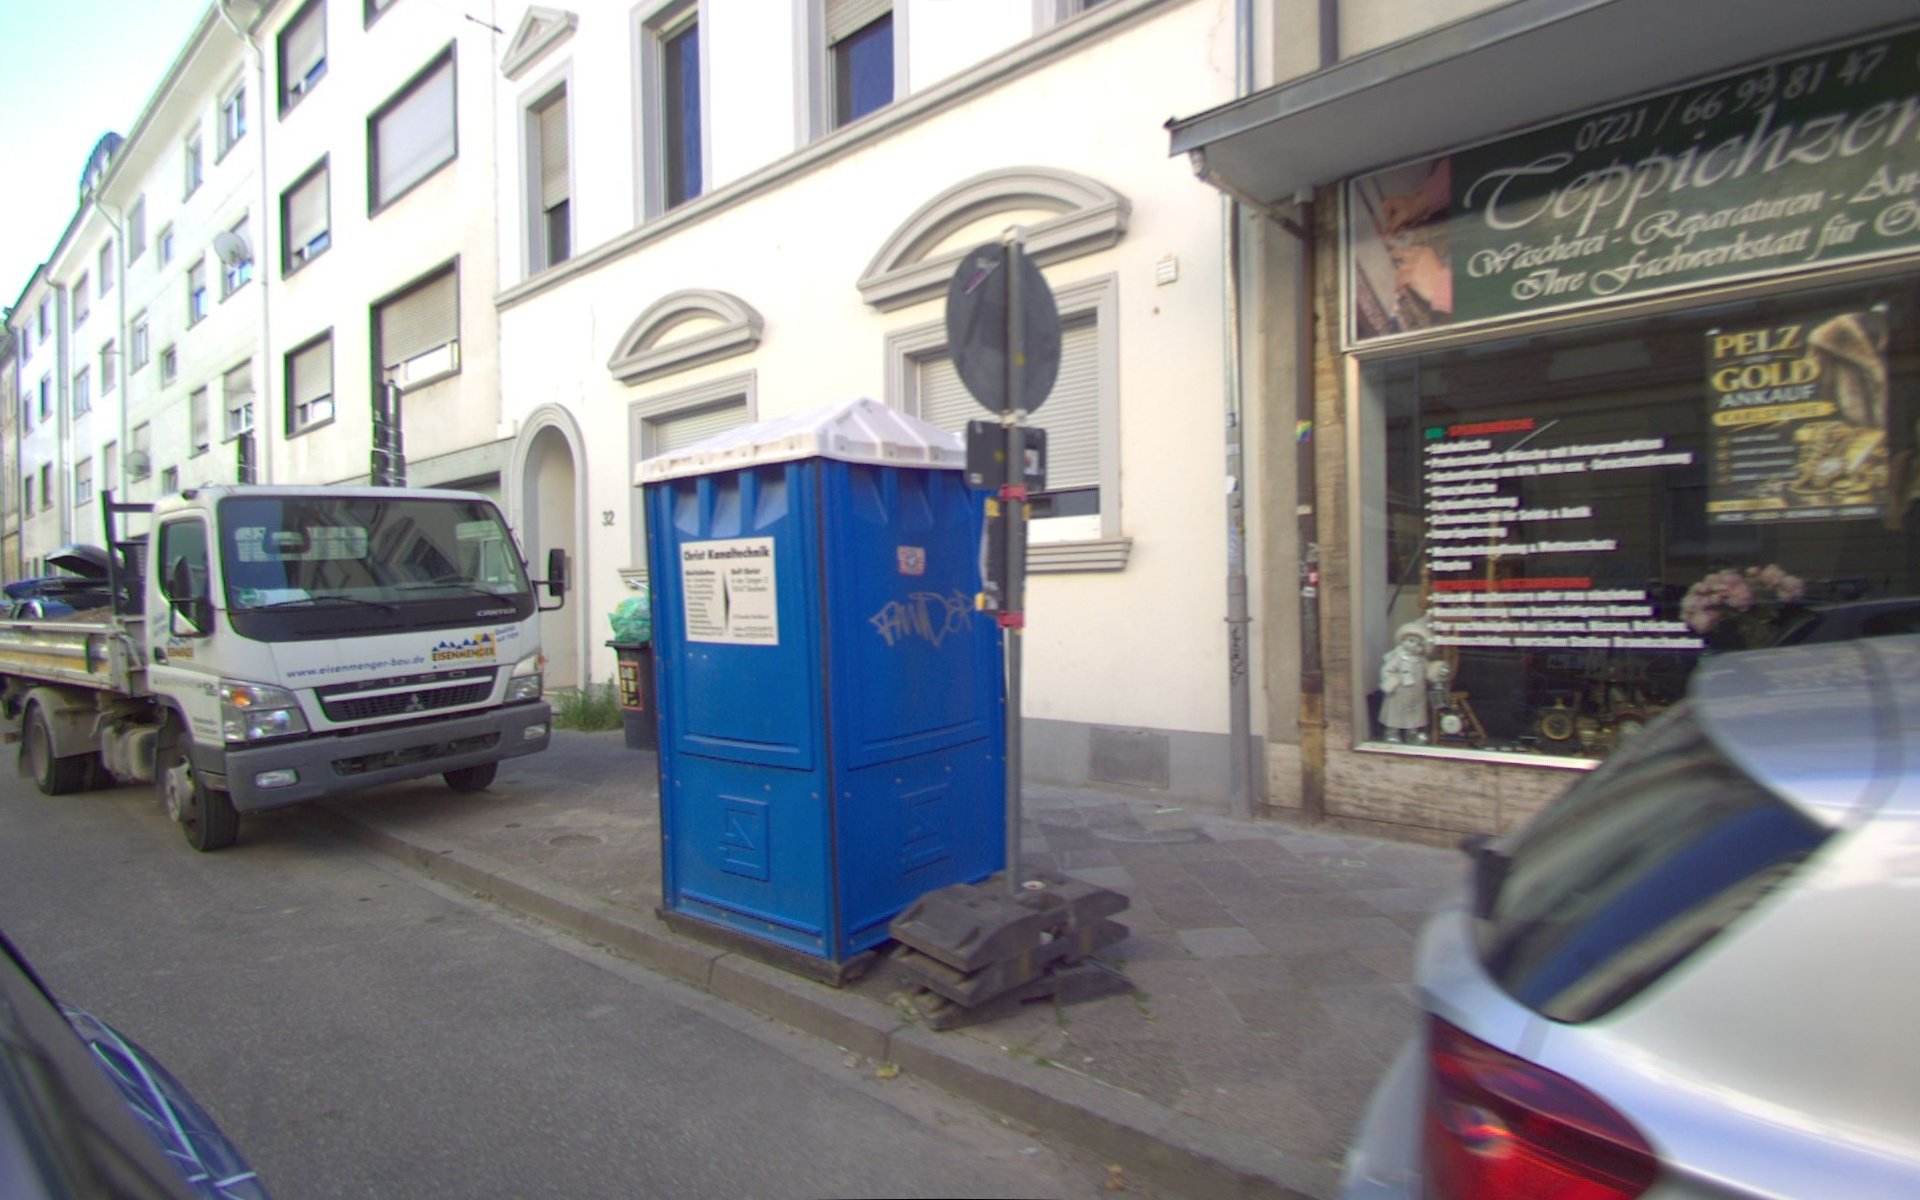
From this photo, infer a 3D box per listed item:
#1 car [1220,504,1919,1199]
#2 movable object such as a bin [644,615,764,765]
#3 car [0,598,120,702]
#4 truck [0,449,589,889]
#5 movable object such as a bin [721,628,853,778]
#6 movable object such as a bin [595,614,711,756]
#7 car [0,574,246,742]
[{"bbox_3d":[2.538,0.681,0.363,4.486,1.534,1.647,-1,-2,41],"label":"car"},{"bbox_3d":[-2.217,0.744,8.794,0.685,1.199,0.750,0,0,37],"label":"movable object such as a bin"},{"bbox_3d":[-17.721,0.863,19.277,4.172,1.783,1.738,0,-1,37],"label":"car"},{"bbox_3d":[-5.801,0.373,8.100,6.335,2.326,2.145,0,-1,36],"label":"truck"},{"bbox_3d":[-1.366,0.782,8.048,0.695,1.080,0.778,0,0,37],"label":"movable object such as a bin"},{"bbox_3d":[-2.787,0.739,9.208,0.695,1.203,0.750,0,0,37],"label":"movable object such as a bin"},{"bbox_3d":[-11.831,0.704,13.791,5.176,1.896,1.895,-1,-2,37],"label":"car"}]
